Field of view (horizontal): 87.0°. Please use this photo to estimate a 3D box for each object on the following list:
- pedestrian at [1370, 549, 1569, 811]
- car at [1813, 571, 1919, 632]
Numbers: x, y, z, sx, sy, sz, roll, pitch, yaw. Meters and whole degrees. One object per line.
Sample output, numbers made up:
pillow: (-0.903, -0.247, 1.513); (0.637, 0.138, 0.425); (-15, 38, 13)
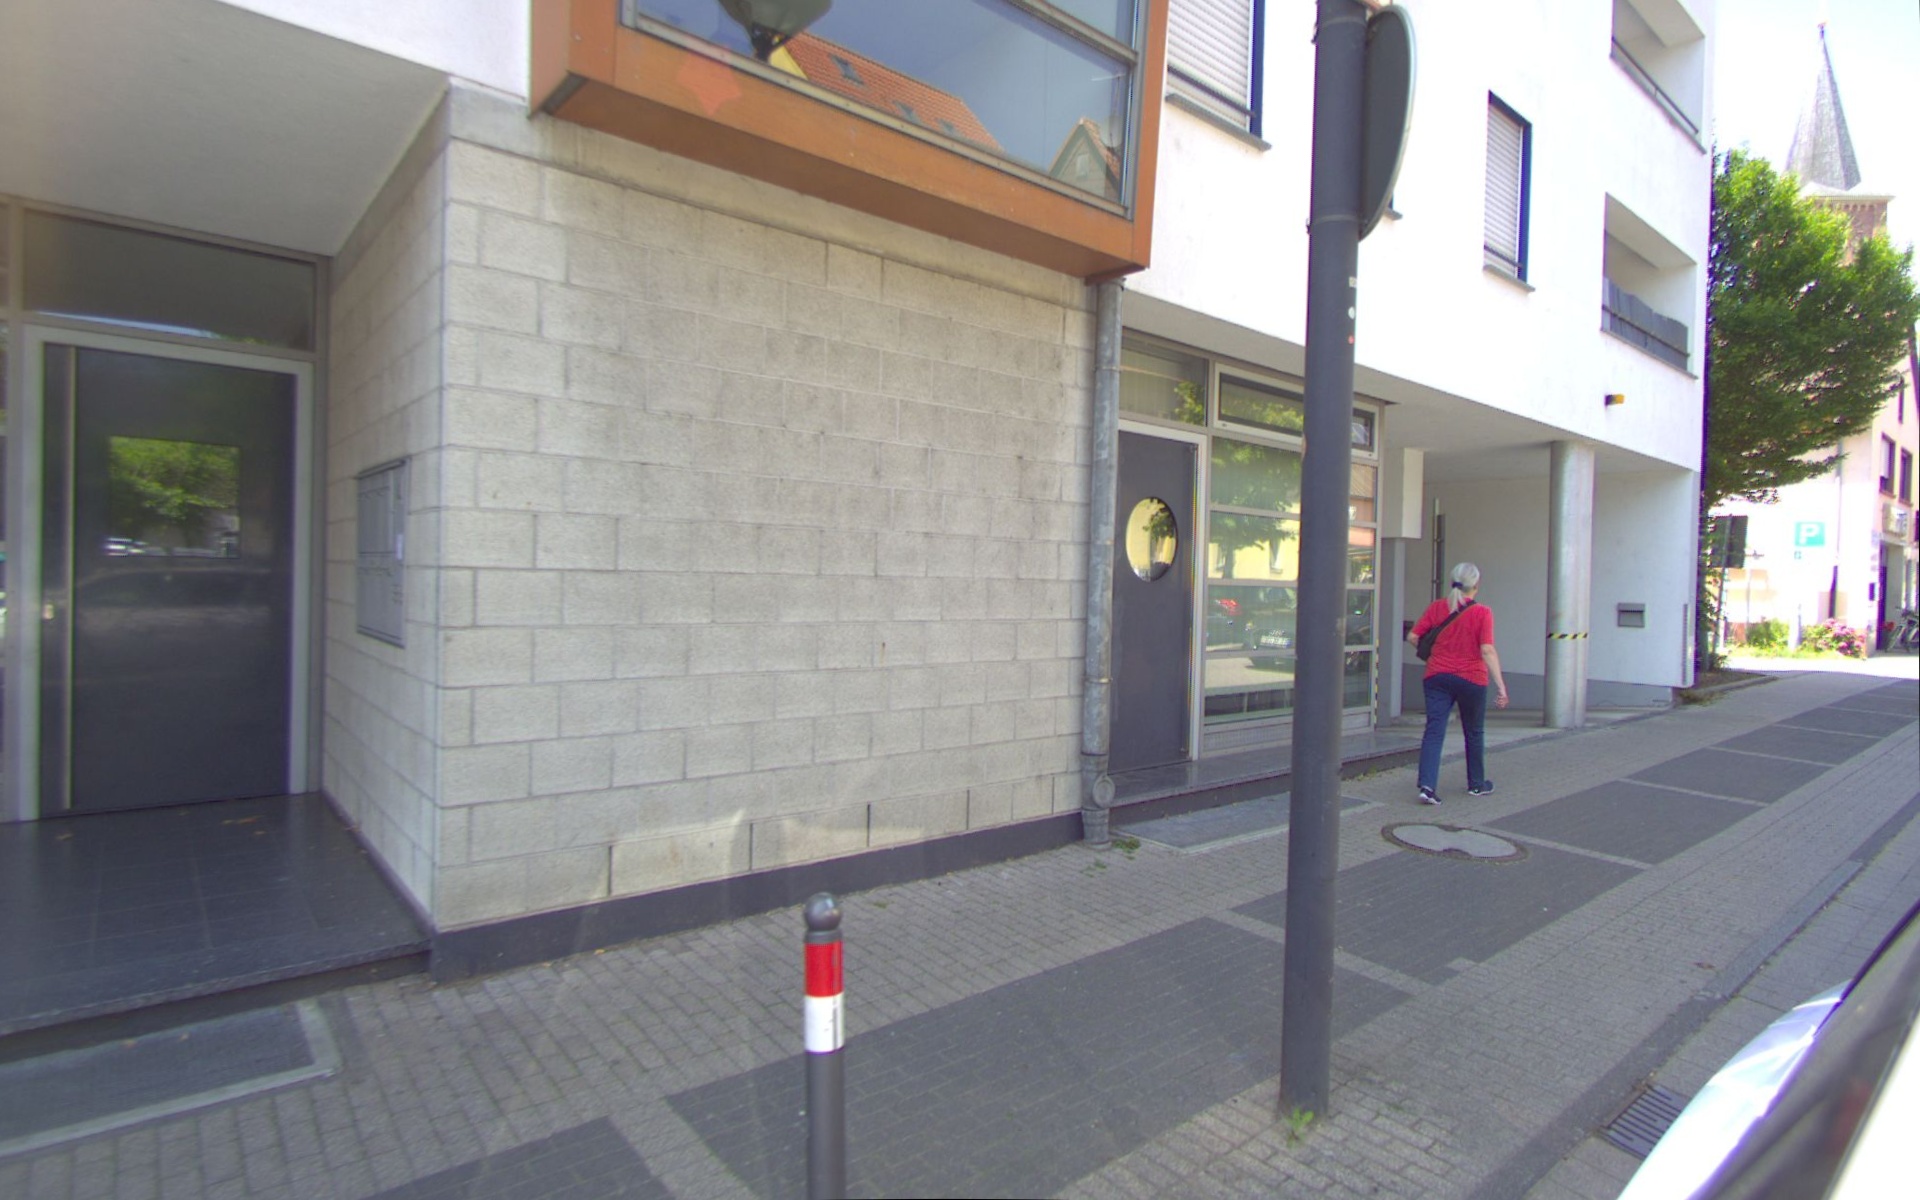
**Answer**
pedestrian: (3.473, 0.487, 6.910); (0.903, 1.607, 0.826); (0, 4, -40)
car: (31.350, 0.055, 33.701); (1.965, 1.882, 4.203); (0, 3, -40)
